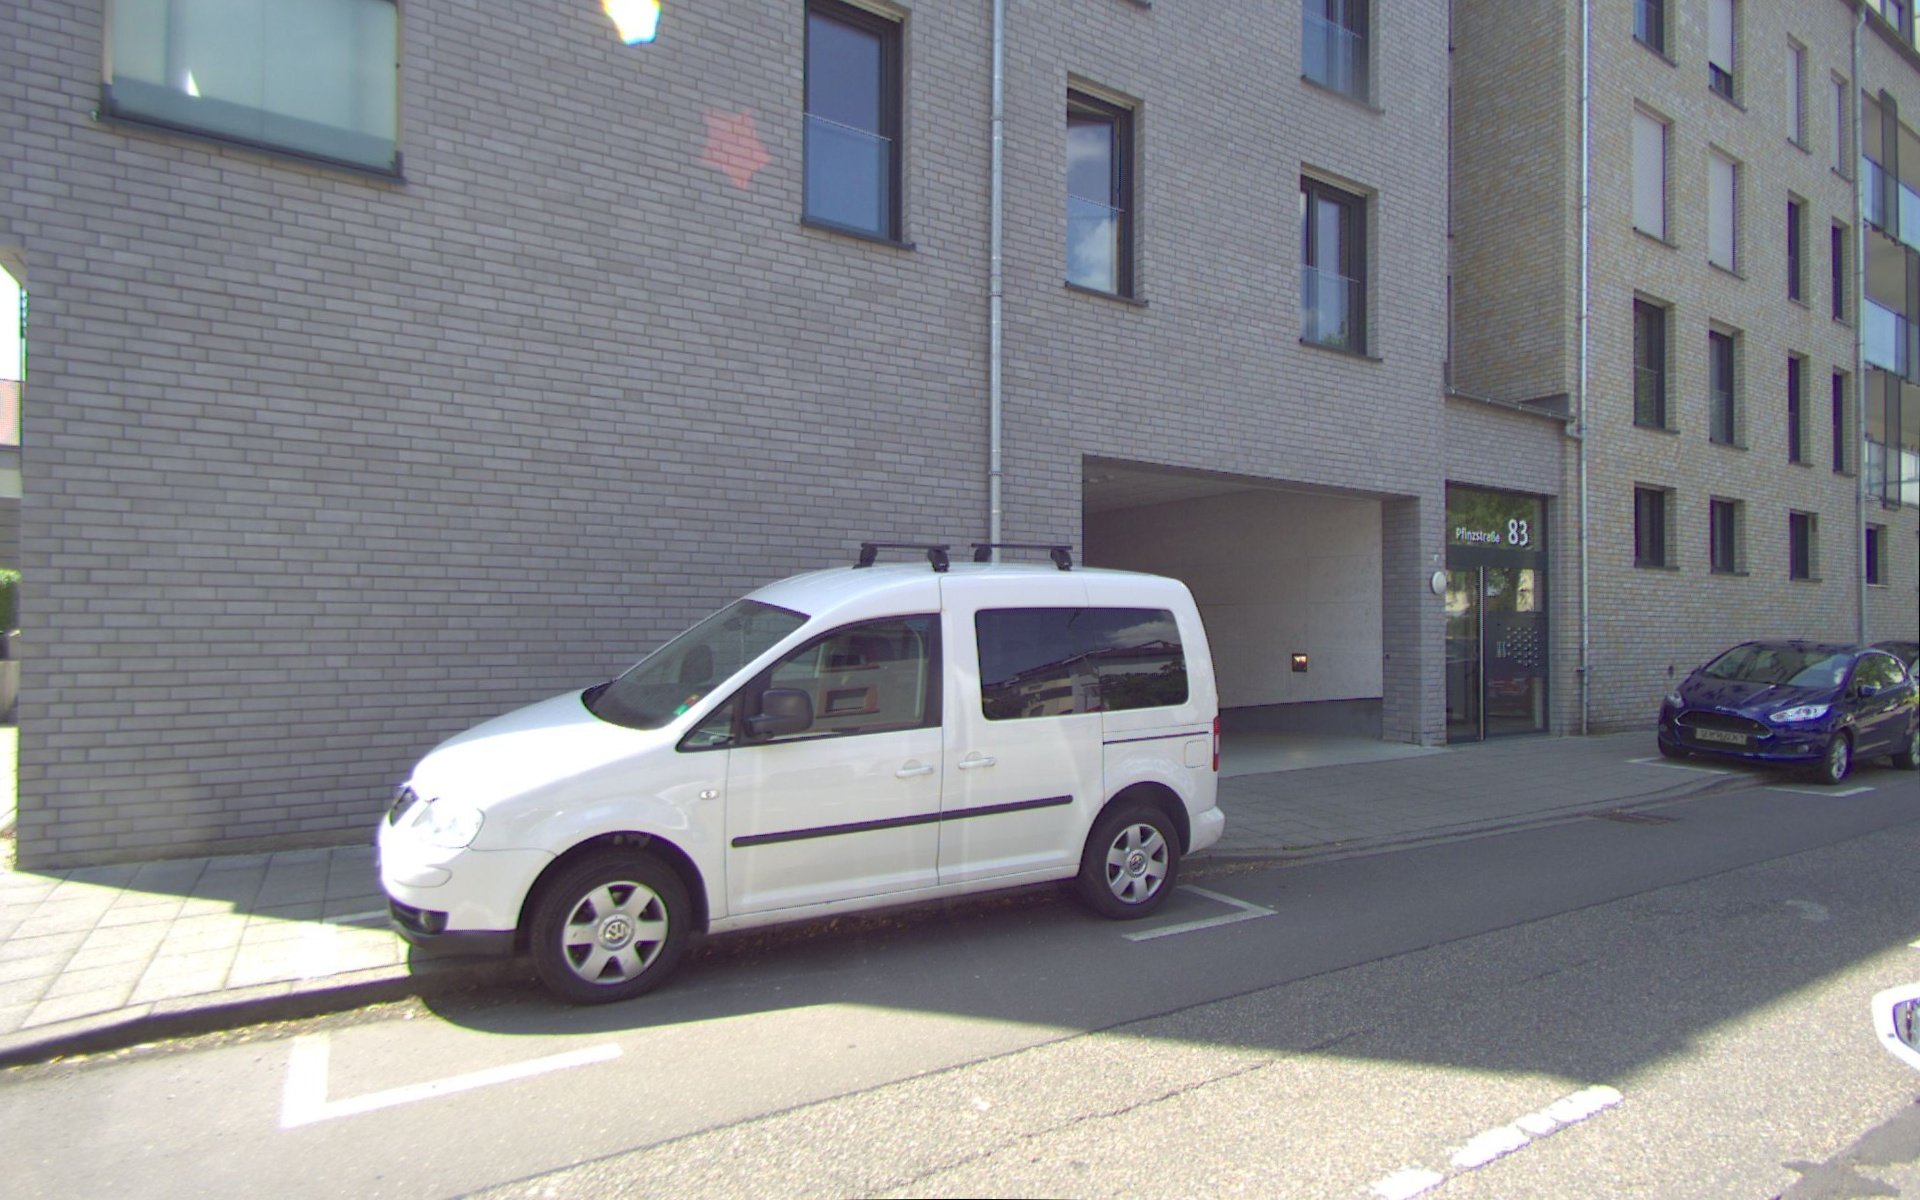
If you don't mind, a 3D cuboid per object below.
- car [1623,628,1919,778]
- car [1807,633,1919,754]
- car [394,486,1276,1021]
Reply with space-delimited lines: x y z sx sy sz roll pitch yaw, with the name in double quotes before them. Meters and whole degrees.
"car" 9.847 1.121 11.974 3.960 1.475 1.714 2 0 -31
"car" 13.884 1.288 14.515 3.532 1.574 1.582 2 -1 -33
"car" -0.534 0.575 5.395 4.283 1.917 1.749 1 1 -29
